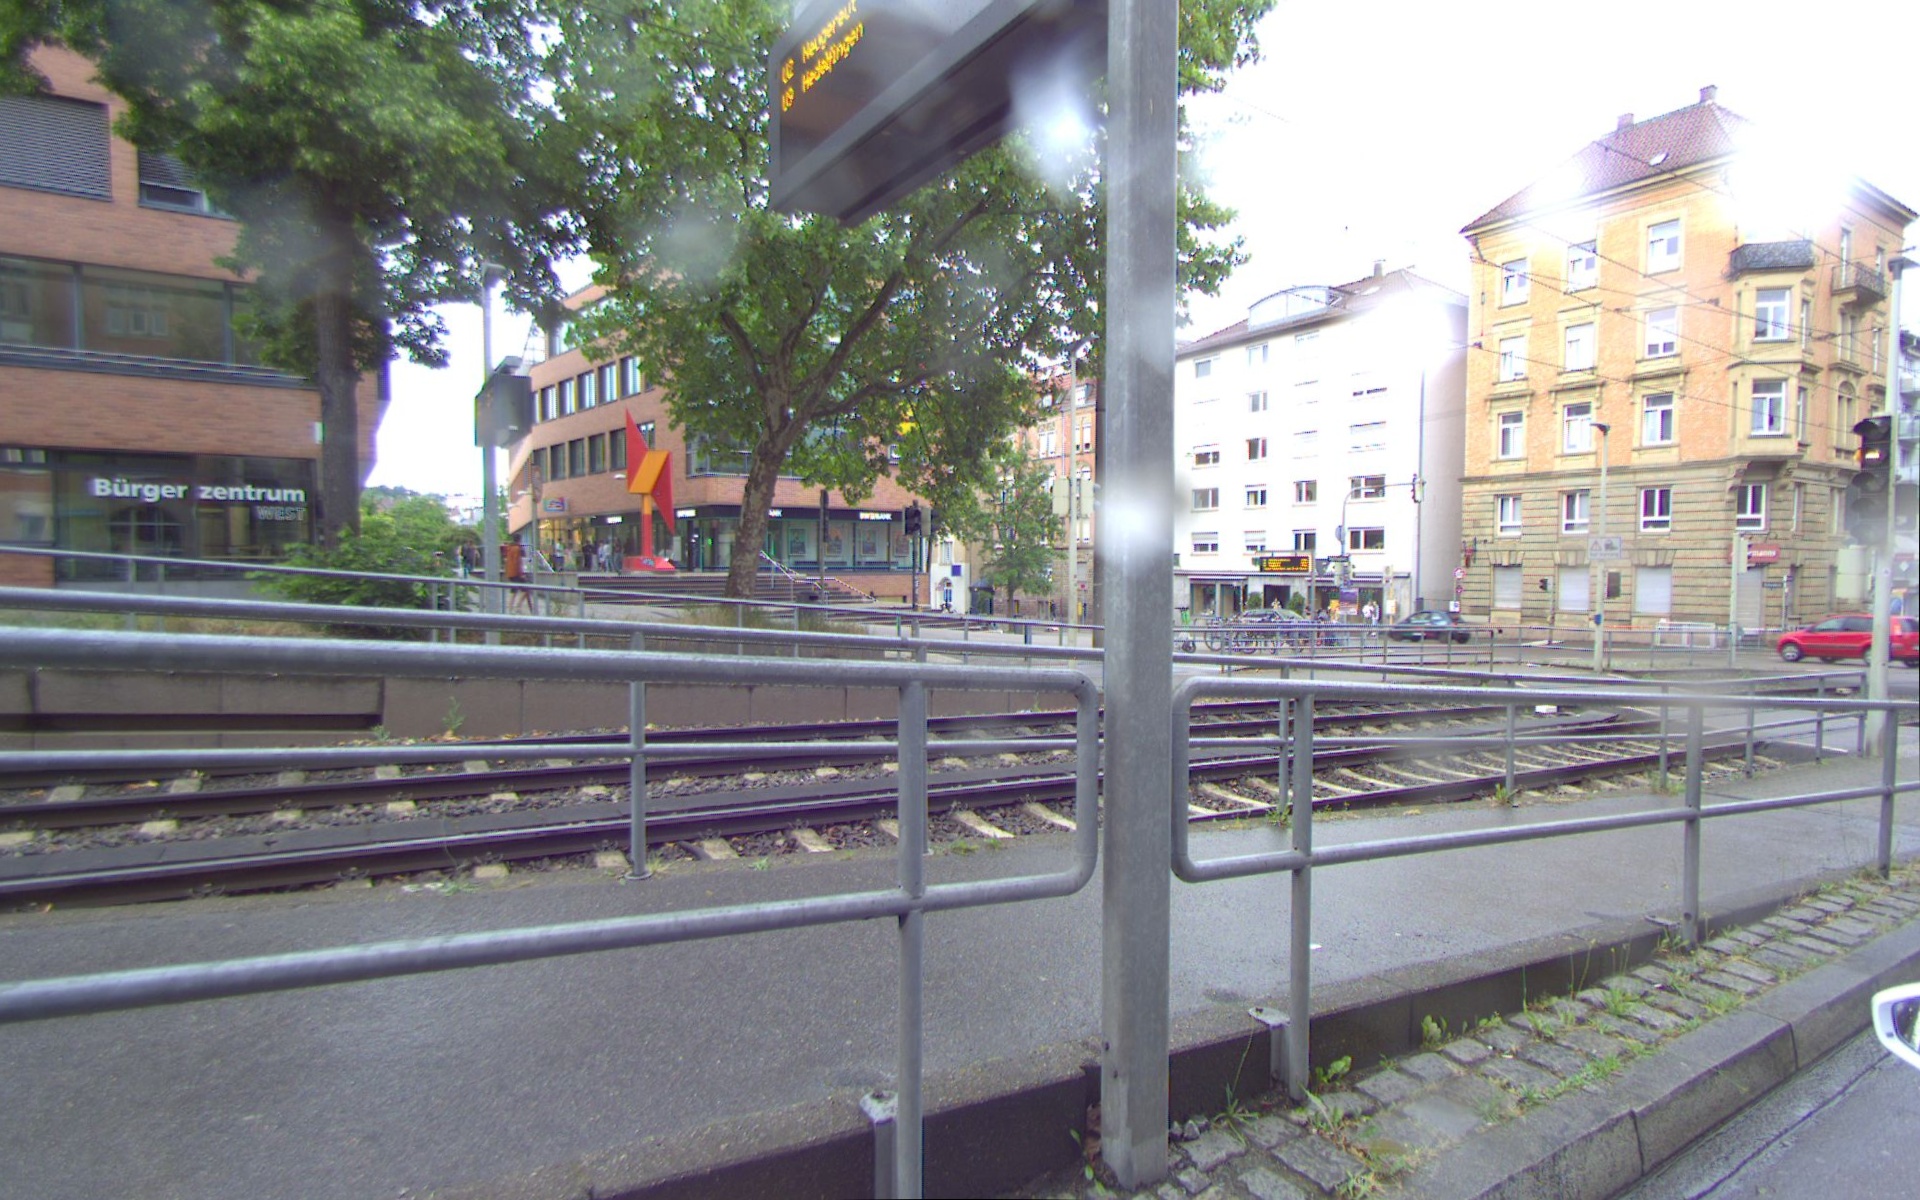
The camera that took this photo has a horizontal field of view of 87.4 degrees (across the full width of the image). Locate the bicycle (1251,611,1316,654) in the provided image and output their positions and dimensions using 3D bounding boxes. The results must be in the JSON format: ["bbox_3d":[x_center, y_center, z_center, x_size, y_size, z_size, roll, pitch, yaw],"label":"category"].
[{"bbox_3d":[9.381,0.932,29.168,0.514,1.158,1.750,1,1,-43],"label":"bicycle"}]

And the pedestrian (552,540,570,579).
[{"bbox_3d":[-20.932,-2.110,52.686,0.711,2.040,0.713,1,0,-38],"label":"pedestrian"}]

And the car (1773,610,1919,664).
[{"bbox_3d":[27.495,1.104,30.925,1.656,1.509,3.604,1,0,-12],"label":"car"}]

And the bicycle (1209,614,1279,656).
[{"bbox_3d":[7.854,0.948,27.835,0.514,1.076,1.852,1,1,-44],"label":"bicycle"}]

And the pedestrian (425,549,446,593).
[{"bbox_3d":[-24.617,-1.340,47.135,0.711,2.040,0.713,1,0,-38],"label":"pedestrian"}]

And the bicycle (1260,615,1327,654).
[{"bbox_3d":[9.864,1.006,29.768,0.514,1.079,1.852,1,1,-43],"label":"bicycle"}]

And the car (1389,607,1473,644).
[{"bbox_3d":[21.347,1.106,45.601,1.412,1.509,3.126,0,2,-39],"label":"car"}]

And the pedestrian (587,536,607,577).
[{"bbox_3d":[-18.514,-2.212,51.236,0.707,2.040,0.716,1,0,45],"label":"pedestrian"}]

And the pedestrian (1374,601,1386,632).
[{"bbox_3d":[22.616,0.882,54.078,0.507,1.643,0.486,2,1,18],"label":"pedestrian"}]

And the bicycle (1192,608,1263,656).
[{"bbox_3d":[7.183,0.845,27.049,0.514,1.211,1.852,1,1,-43],"label":"bicycle"}]

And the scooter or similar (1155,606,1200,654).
[{"bbox_3d":[5.619,0.774,25.970,1.090,1.211,0.362,2,1,6],"label":"scooter or similar"}]

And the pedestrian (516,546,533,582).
[{"bbox_3d":[-24.840,-2.046,57.342,0.710,2.041,0.713,1,1,-37],"label":"pedestrian"}]

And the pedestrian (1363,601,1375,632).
[{"bbox_3d":[22.135,0.874,54.360,0.507,1.643,0.486,2,1,18],"label":"pedestrian"}]

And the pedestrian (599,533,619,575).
[{"bbox_3d":[-17.573,-2.279,50.302,0.711,2.040,0.713,1,0,-38],"label":"pedestrian"}]

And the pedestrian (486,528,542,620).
[{"bbox_3d":[-10.195,-0.584,22.956,0.973,2.041,0.726,1,1,-41],"label":"pedestrian"}]

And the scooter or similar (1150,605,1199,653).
[{"bbox_3d":[5.668,0.763,26.558,1.226,1.211,0.299,2,1,6],"label":"scooter or similar"}]

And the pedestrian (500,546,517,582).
[{"bbox_3d":[-25.633,-2.026,56.972,0.711,2.040,0.713,1,0,-38],"label":"pedestrian"}]

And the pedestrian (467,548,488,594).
[{"bbox_3d":[-21.707,-1.297,45.193,0.711,2.040,0.713,1,0,-38],"label":"pedestrian"}]
